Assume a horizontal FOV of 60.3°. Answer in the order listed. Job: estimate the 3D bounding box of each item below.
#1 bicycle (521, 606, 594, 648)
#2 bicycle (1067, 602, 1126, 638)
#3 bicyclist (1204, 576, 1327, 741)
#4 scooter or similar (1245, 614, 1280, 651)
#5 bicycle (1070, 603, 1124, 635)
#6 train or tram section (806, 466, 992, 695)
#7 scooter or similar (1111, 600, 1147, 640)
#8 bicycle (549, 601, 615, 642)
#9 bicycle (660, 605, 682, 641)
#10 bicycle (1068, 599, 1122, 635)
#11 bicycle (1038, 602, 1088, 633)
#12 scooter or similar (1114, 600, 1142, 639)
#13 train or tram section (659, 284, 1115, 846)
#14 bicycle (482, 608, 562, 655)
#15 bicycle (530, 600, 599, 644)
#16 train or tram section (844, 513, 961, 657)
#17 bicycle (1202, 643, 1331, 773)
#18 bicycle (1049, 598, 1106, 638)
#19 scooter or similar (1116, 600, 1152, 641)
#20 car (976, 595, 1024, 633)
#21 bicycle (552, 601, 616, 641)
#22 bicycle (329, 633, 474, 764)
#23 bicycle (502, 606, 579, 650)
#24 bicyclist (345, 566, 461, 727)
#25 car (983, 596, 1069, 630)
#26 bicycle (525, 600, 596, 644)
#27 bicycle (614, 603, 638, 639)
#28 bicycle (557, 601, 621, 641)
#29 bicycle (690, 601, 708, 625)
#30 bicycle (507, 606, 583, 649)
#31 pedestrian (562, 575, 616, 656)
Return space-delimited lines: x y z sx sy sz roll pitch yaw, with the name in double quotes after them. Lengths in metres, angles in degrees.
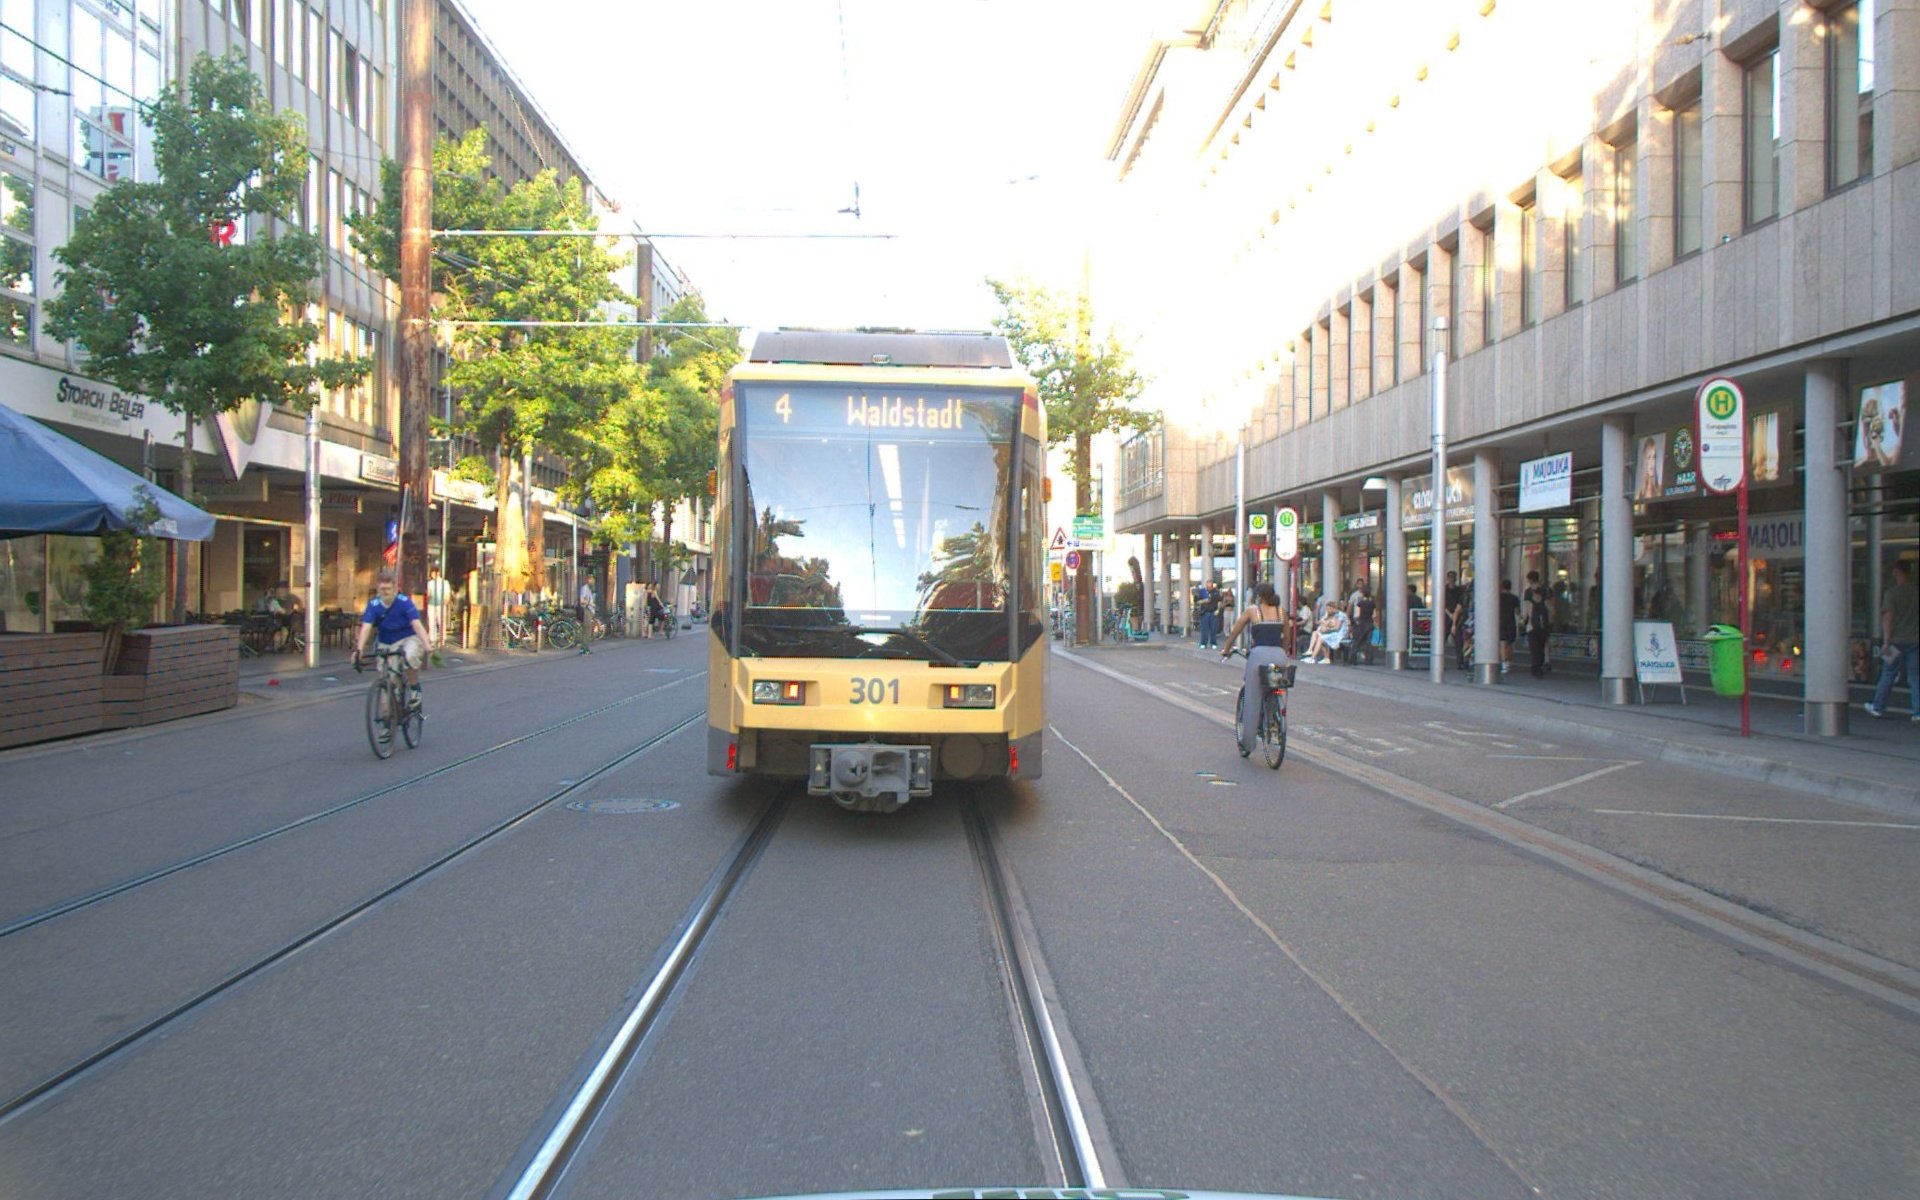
-10.311 0.686 42.390 1.738 1.007 0.489 2 1 -8 "bicycle"
4.787 0.703 58.136 1.958 1.175 0.724 -2 0 -7 "bicycle"
2.942 0.549 16.022 0.977 1.528 0.857 2 0 -1 "bicyclist"
7.682 0.825 41.954 0.815 0.899 0.687 2 0 13 "scooter or similar"
5.048 0.712 61.056 1.878 1.096 0.762 -2 0 -7 "bicycle"
-1.129 -0.323 31.762 2.744 3.377 14.503 0 0 -2 "train or tram section"
5.545 0.657 54.391 1.175 1.273 0.389 -1 1 -31 "scooter or similar"
-10.772 0.601 47.188 1.738 1.090 0.489 2 0 -8 "bicycle"
-8.920 0.698 51.071 0.478 1.063 1.776 1 1 -4 "bicycle"
5.032 0.624 61.802 1.878 1.244 0.762 -2 0 -7 "bicycle"
3.937 0.664 63.095 1.816 1.128 0.666 -1 0 -4 "bicycle"
5.593 0.646 54.982 0.385 1.273 1.187 0 1 36 "scooter or similar"
-0.668 -0.243 17.257 2.744 3.377 14.503 0 0 -2 "train or tram section"
-10.043 0.715 37.926 1.734 0.982 0.490 2 -1 15 "bicycle"
-10.691 0.592 44.729 1.738 1.090 0.489 2 0 -8 "bicycle"
-1.595 -0.396 46.216 2.744 3.377 14.503 0 0 -2 "train or tram section"
2.930 1.005 16.036 0.798 1.092 2.113 2 0 -1 "bicycle"
4.182 0.641 58.914 1.878 1.356 0.724 -2 0 -7 "bicycle"
5.635 0.664 53.593 1.101 1.273 0.491 -1 1 -32 "scooter or similar"
1.544 0.568 64.761 1.734 1.434 4.051 1 -1 -1 "car"
-10.840 0.602 47.731 1.738 1.090 0.489 2 0 -8 "bicycle"
-5.207 0.889 15.533 0.715 1.092 1.865 2 0 -1 "bicycle"
-10.260 0.679 40.450 1.738 1.007 0.489 2 1 -8 "bicycle"
-5.193 0.423 15.468 0.743 1.439 0.897 2 0 -1 "bicyclist"
2.927 0.582 72.891 1.743 1.434 3.879 0 -1 41 "car"
-10.656 0.590 44.153 1.738 1.090 0.489 2 0 -8 "bicycle"
-10.257 0.640 50.841 0.478 1.063 1.776 1 1 -4 "bicycle"
-10.847 0.605 48.384 1.738 1.090 0.489 2 0 -8 "bicycle"
-12.804 0.639 81.160 0.488 1.127 1.801 0 1 4 "bicycle"
-10.282 0.681 40.978 1.738 1.007 0.489 2 1 -8 "bicycle"
-8.516 0.349 37.963 0.974 1.824 0.816 0 -1 45 "pedestrian"
